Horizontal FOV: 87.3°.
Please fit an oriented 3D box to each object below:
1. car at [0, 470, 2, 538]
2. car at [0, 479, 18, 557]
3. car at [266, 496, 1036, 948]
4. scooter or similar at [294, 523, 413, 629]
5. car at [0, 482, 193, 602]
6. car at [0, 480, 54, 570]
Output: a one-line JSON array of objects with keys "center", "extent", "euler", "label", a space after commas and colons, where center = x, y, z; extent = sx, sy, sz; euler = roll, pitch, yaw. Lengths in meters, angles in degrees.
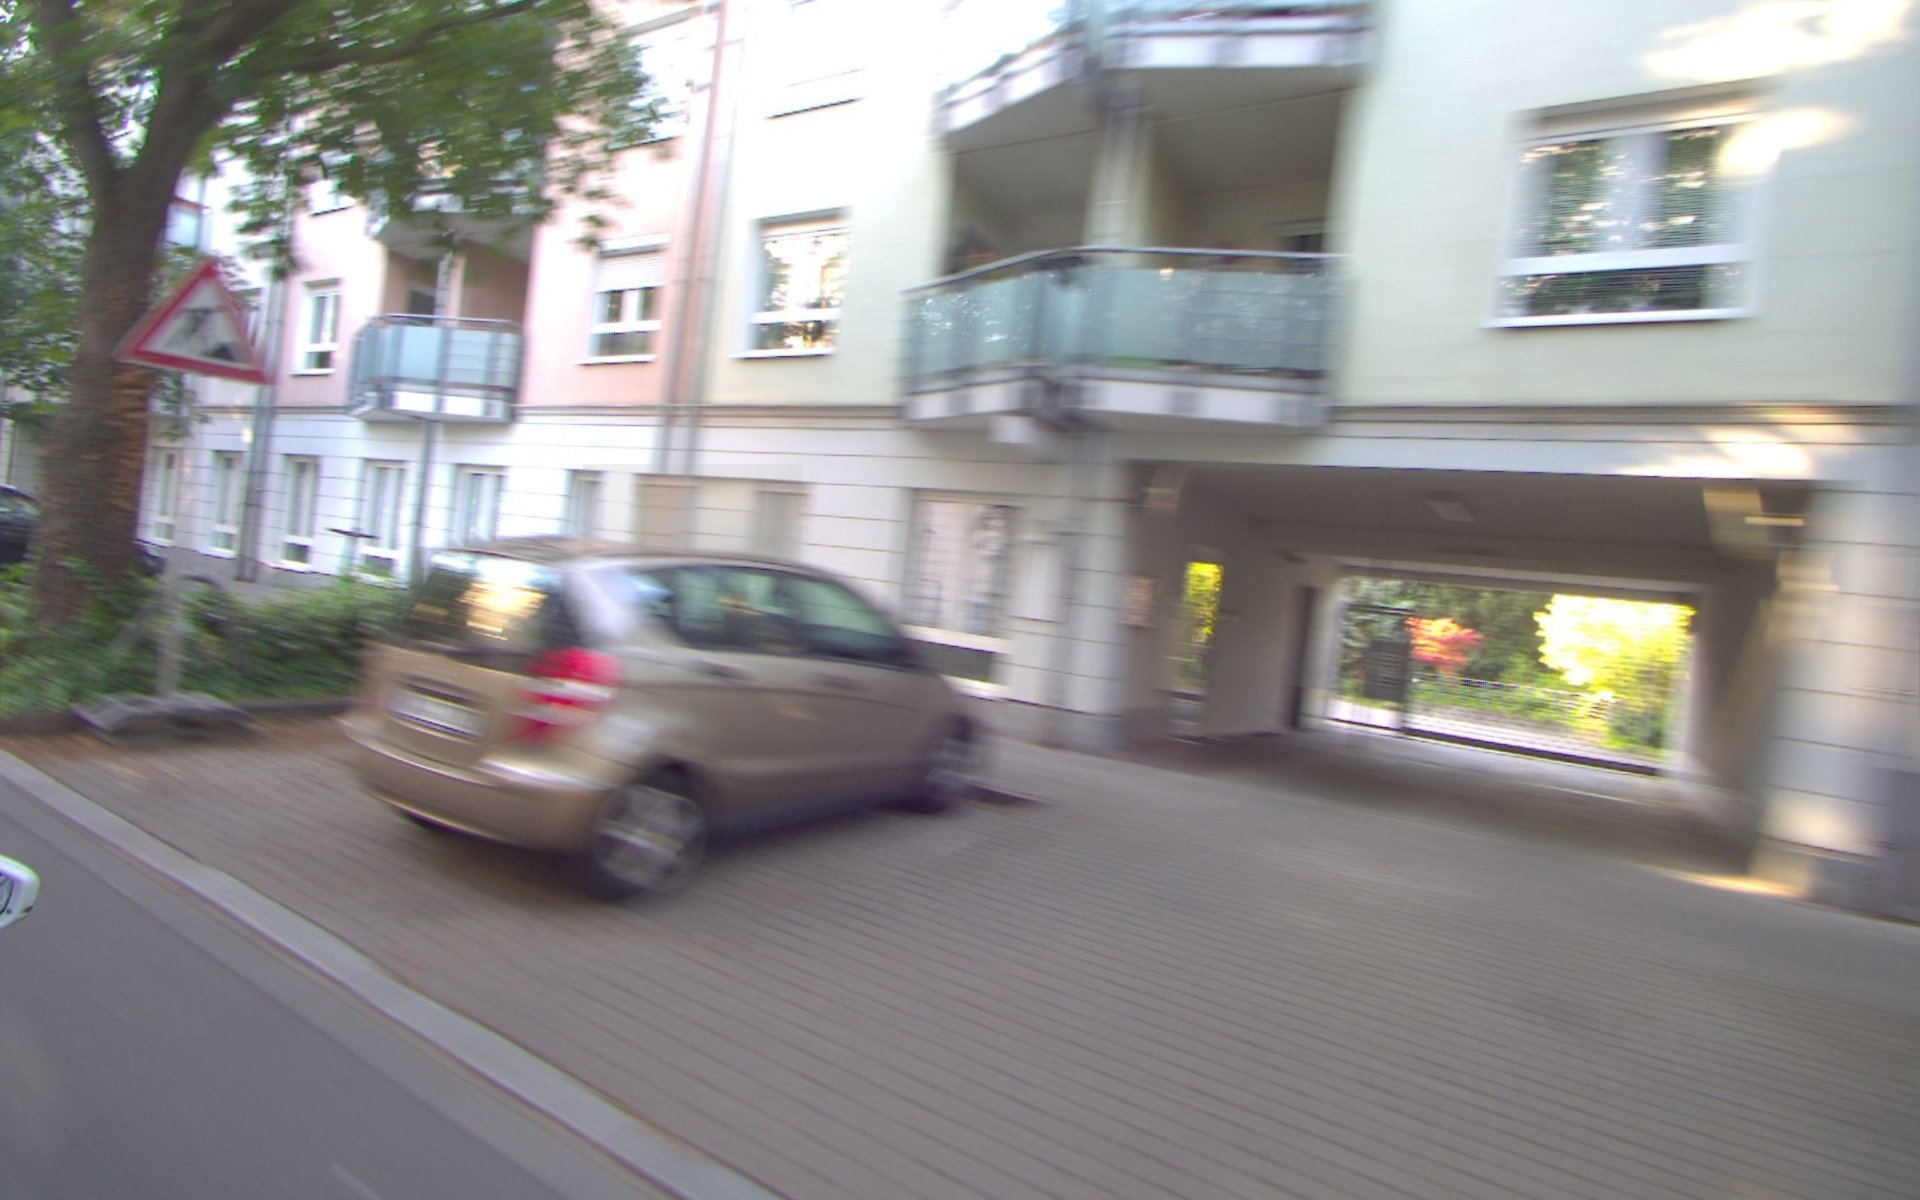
[{"center": [-22.027, -2.036, 19.484], "extent": [1.975, 1.639, 4.645], "euler": [7, 3, 29], "label": "car"}, {"center": [-19.972, -1.679, 18.008], "extent": [1.899, 1.458, 4.220], "euler": [7, 3, 34], "label": "car"}, {"center": [-1.381, 0.472, 5.908], "extent": [1.885, 1.606, 3.970], "euler": [7, 2, 32], "label": "car"}, {"center": [-7.829, -0.313, 12.979], "extent": [1.430, 1.219, 0.655], "euler": [7, 3, 30], "label": "scooter or similar"}, {"center": [-12.992, -0.840, 13.292], "extent": [1.901, 1.471, 4.087], "euler": [7, 2, 27], "label": "car"}, {"center": [-18.035, -1.426, 16.349], "extent": [1.766, 1.487, 4.600], "euler": [7, 2, 32], "label": "car"}]
